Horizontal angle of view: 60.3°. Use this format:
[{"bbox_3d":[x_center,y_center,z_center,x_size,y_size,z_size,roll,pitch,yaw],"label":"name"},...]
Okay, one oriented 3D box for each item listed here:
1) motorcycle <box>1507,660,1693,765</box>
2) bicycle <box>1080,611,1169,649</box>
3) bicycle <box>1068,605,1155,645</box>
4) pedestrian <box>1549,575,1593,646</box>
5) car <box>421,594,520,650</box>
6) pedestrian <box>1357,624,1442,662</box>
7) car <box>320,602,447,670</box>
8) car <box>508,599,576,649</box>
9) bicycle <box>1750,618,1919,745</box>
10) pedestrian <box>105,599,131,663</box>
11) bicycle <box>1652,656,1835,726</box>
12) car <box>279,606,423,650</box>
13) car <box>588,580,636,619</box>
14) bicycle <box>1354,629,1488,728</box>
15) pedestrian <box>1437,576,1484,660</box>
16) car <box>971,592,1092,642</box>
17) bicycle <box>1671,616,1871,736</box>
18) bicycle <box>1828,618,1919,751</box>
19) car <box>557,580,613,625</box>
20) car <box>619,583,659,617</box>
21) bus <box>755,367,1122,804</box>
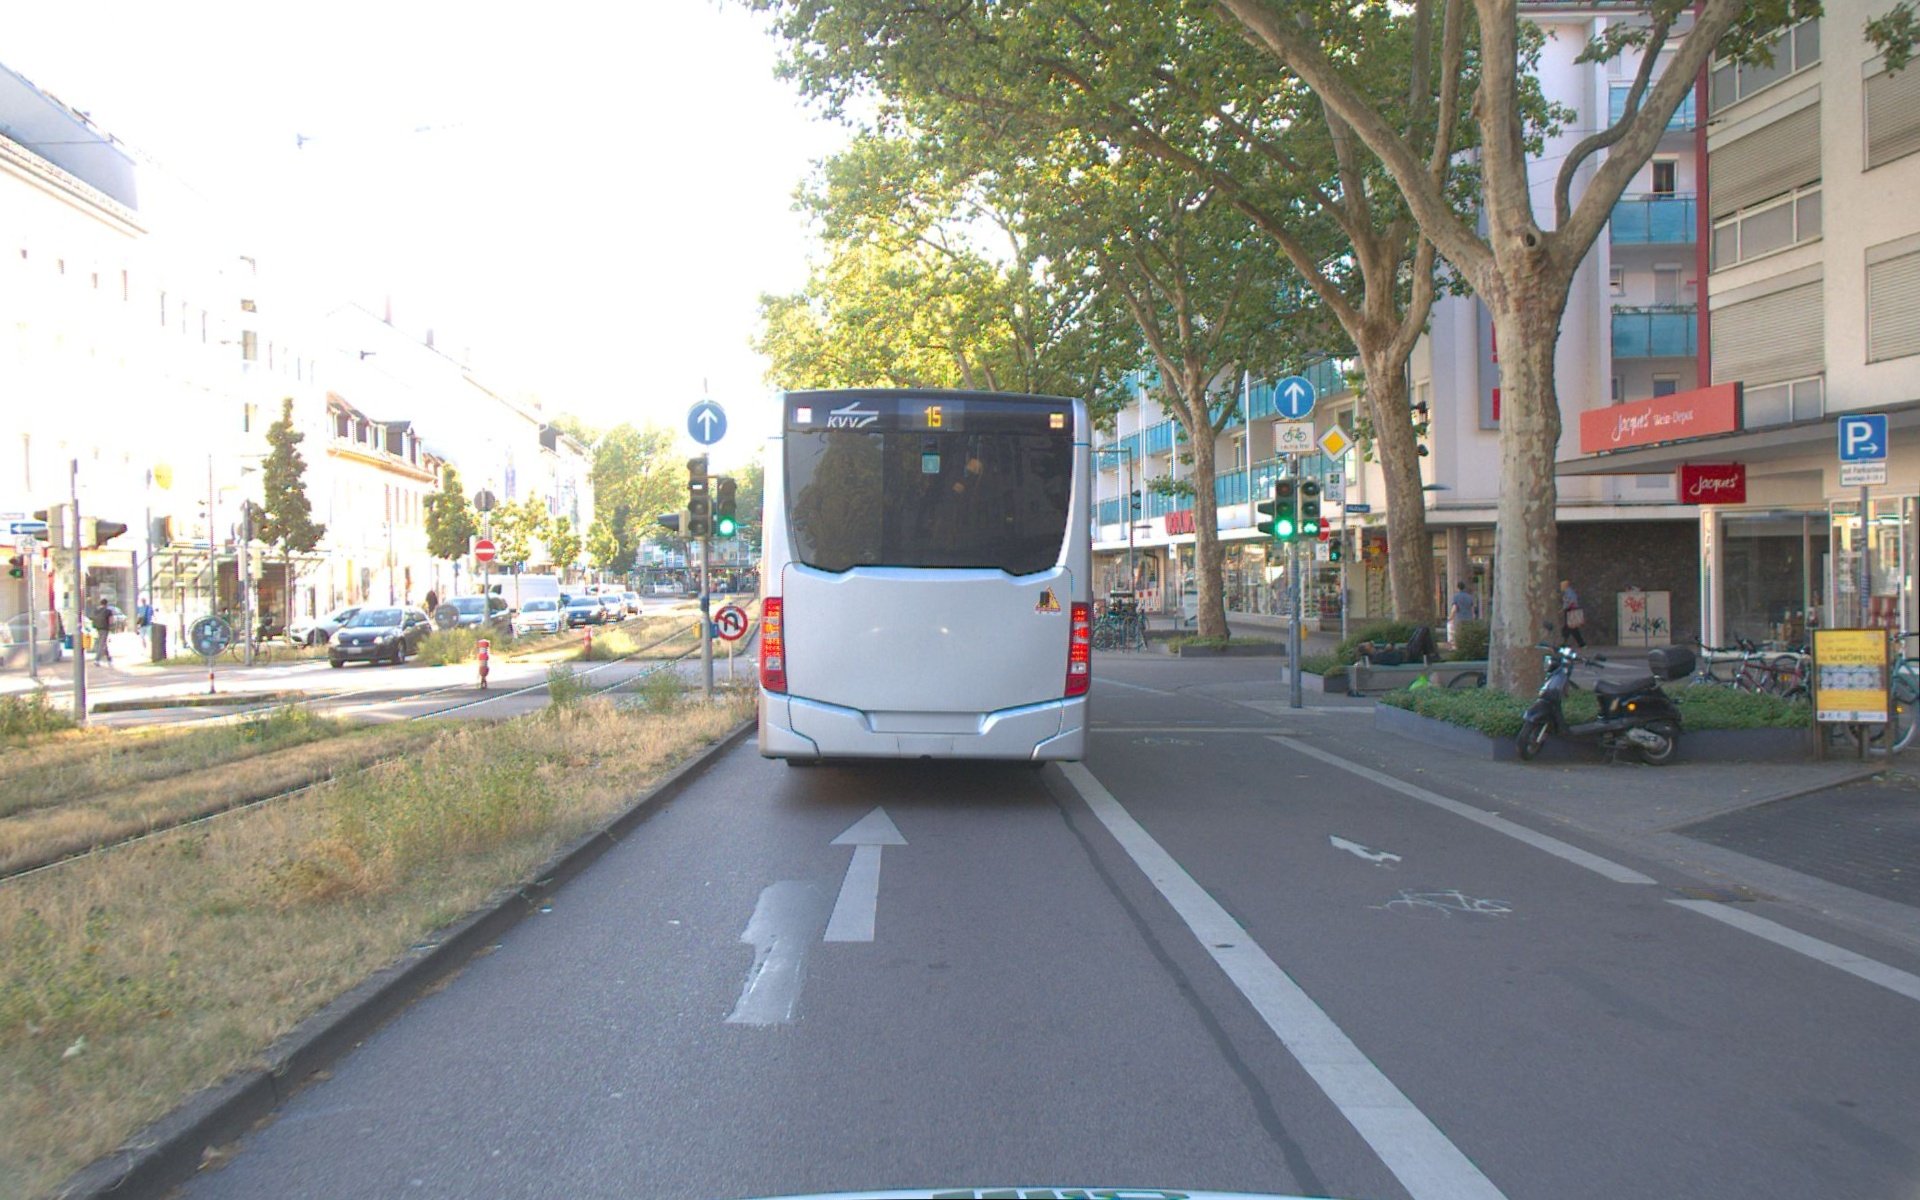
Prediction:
[{"bbox_3d":[6.001,1.043,15.540,1.539,0.908,0.544,-1,0,-4],"label":"motorcycle"},{"bbox_3d":[4.467,0.799,44.924,2.267,0.956,0.835,-1,1,-10],"label":"bicycle"},{"bbox_3d":[4.219,0.695,46.125,2.267,1.046,0.835,-1,1,-10],"label":"bicycle"},{"bbox_3d":[15.180,0.256,41.116,0.733,1.708,0.834,-1,2,-7],"label":"pedestrian"},{"bbox_3d":[-15.389,0.650,52.216,1.744,1.643,4.509,0,0,1],"label":"car"},{"bbox_3d":[7.017,0.688,26.451,1.229,0.599,0.482,0,0,-3],"label":"pedestrian"},{"bbox_3d":[-14.760,0.884,42.579,1.744,1.475,4.045,-3,1,1],"label":"car"},{"bbox_3d":[-16.307,0.907,64.649,1.860,1.836,3.997,-1,0,-4],"label":"car"},{"bbox_3d":[9.532,0.859,17.788,1.753,1.210,0.671,-4,0,-10],"label":"bicycle"},{"bbox_3d":[-23.157,0.835,45.489,0.417,1.743,0.508,-1,0,3],"label":"pedestrian"},{"bbox_3d":[9.347,1.080,19.783,1.836,0.779,0.712,-1,0,7],"label":"bicycle"},{"bbox_3d":[-21.783,0.979,59.239,4.505,1.437,1.973,-1,0,-38],"label":"car"},{"bbox_3d":[-18.889,-0.021,89.981,1.954,2.049,3.997,-1,0,-4],"label":"car"},{"bbox_3d":[5.652,0.958,20.299,1.479,1.124,0.460,2,0,-1],"label":"bicycle"},{"bbox_3d":[11.049,0.400,36.557,0.764,1.825,0.764,-1,0,-1],"label":"pedestrian"},{"bbox_3d":[2.412,0.550,54.996,1.964,1.557,3.978,-1,0,41],"label":"car"},{"bbox_3d":[9.189,0.857,18.799,1.836,1.210,0.712,-4,-1,7],"label":"bicycle"},{"bbox_3d":[9.866,0.805,16.404,2.037,1.254,0.832,-2,0,4],"label":"bicycle"},{"bbox_3d":[-17.750,0.124,78.394,1.954,2.049,3.997,-1,0,-4],"label":"car"},{"bbox_3d":[-20.216,-0.002,104.163,1.954,2.049,3.997,-1,0,-4],"label":"car"},{"bbox_3d":[-0.163,-0.127,15.447,2.623,3.137,7.113,0,0,0],"label":"bus"}]
